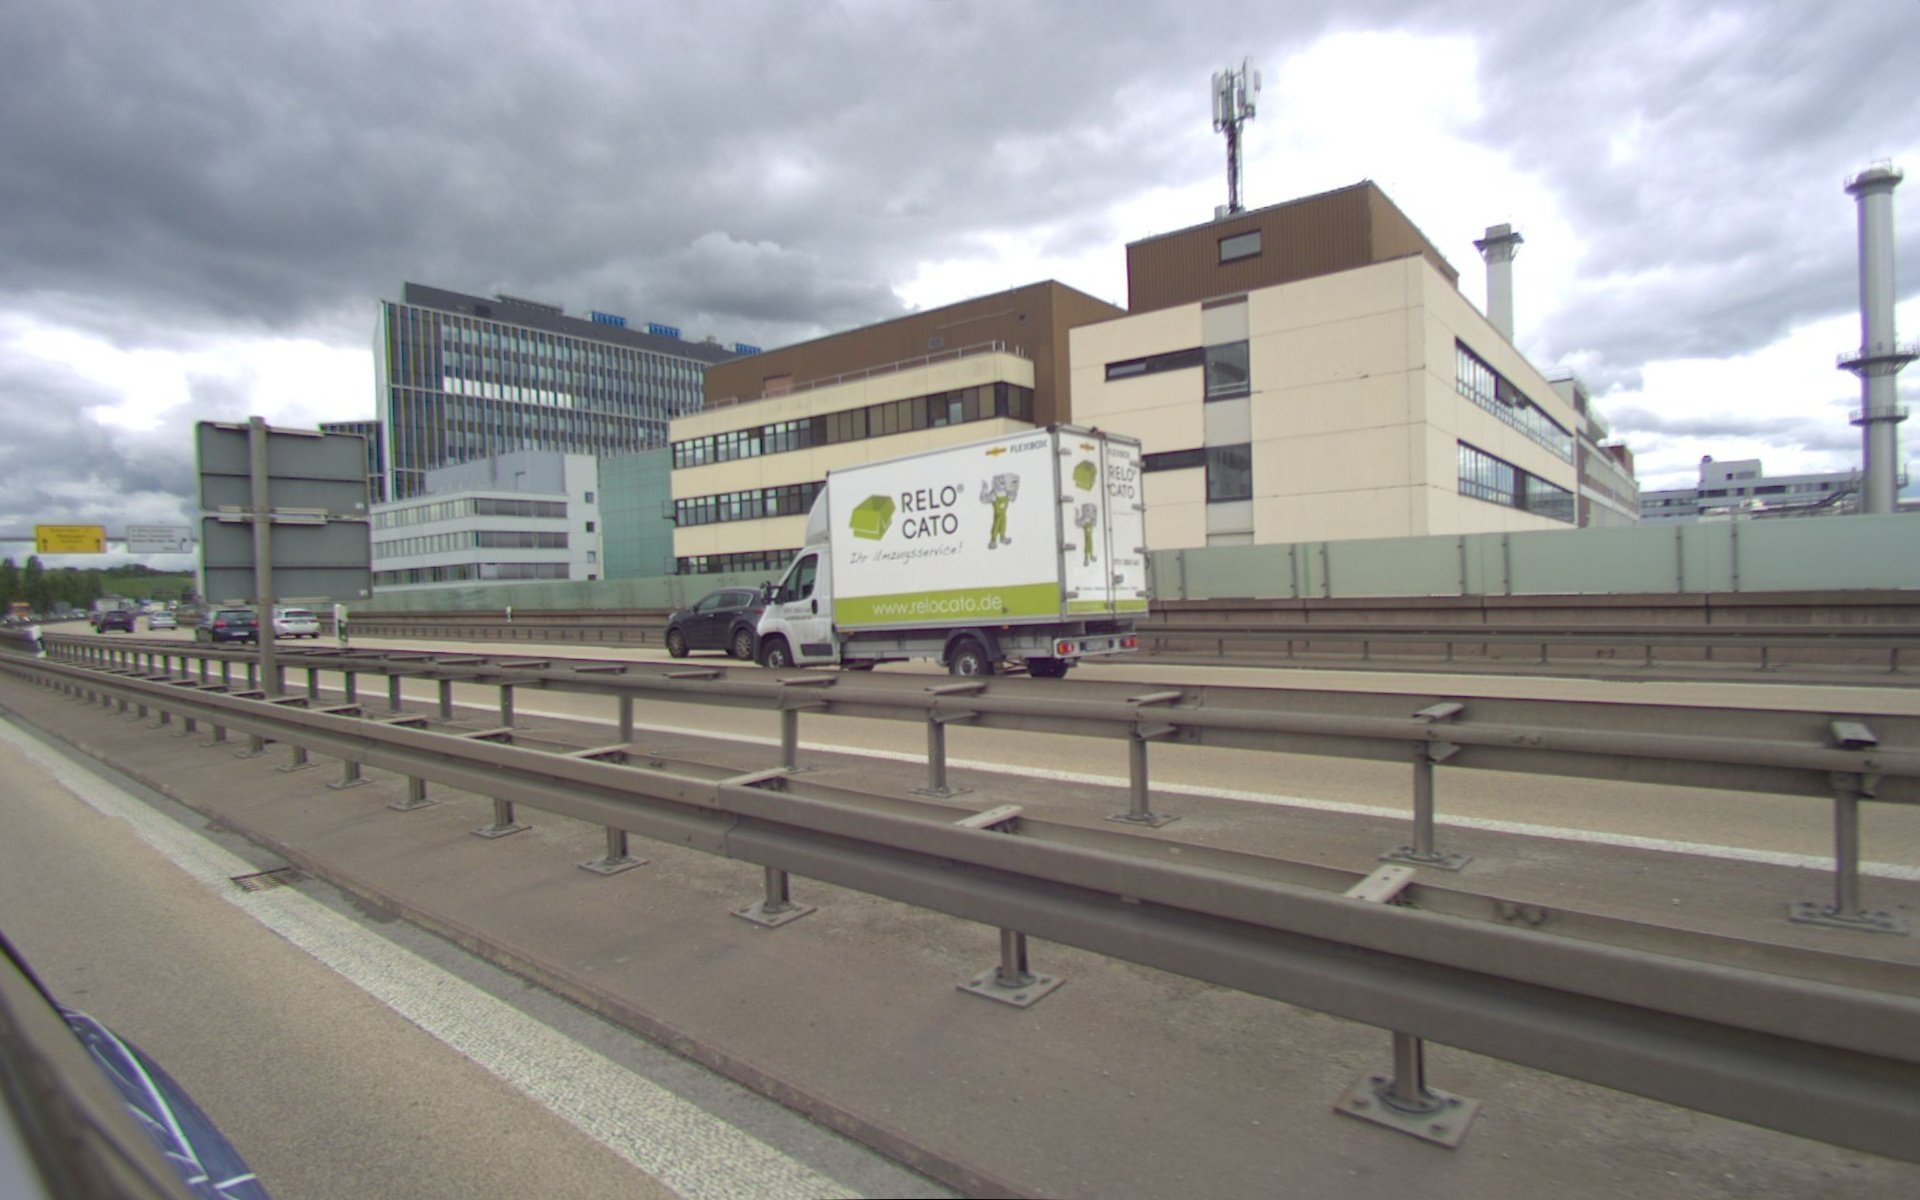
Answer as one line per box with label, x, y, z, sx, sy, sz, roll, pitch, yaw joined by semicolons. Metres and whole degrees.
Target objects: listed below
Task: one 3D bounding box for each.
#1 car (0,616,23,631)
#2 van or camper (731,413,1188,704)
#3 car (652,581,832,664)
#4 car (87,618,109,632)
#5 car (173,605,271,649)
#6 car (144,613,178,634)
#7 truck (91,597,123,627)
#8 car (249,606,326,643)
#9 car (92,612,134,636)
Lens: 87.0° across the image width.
car;-133.206;3.292;142.094;1.967;2.029;4.009;-1;0;-36
van or camper;-0.320;-0.463;15.076;6.951;3.413;2.380;-1;0;41
car;-5.127;0.512;23.499;4.365;1.761;1.737;-2;-1;40
car;-94.036;2.736;110.356;1.733;1.494;4.096;0;-1;-42
car;-29.562;1.074;40.470;4.808;1.623;2.002;-1;-1;39
car;-64.167;1.895;81.258;3.685;1.609;1.664;-2;-1;43
truck;-118.780;1.716;140.907;3.221;3.887;13.073;-2;0;-40
car;-31.939;1.160;48.021;4.812;1.623;1.897;-2;-1;41
car;-60.114;1.682;71.819;4.814;1.631;1.735;-2;-1;43
